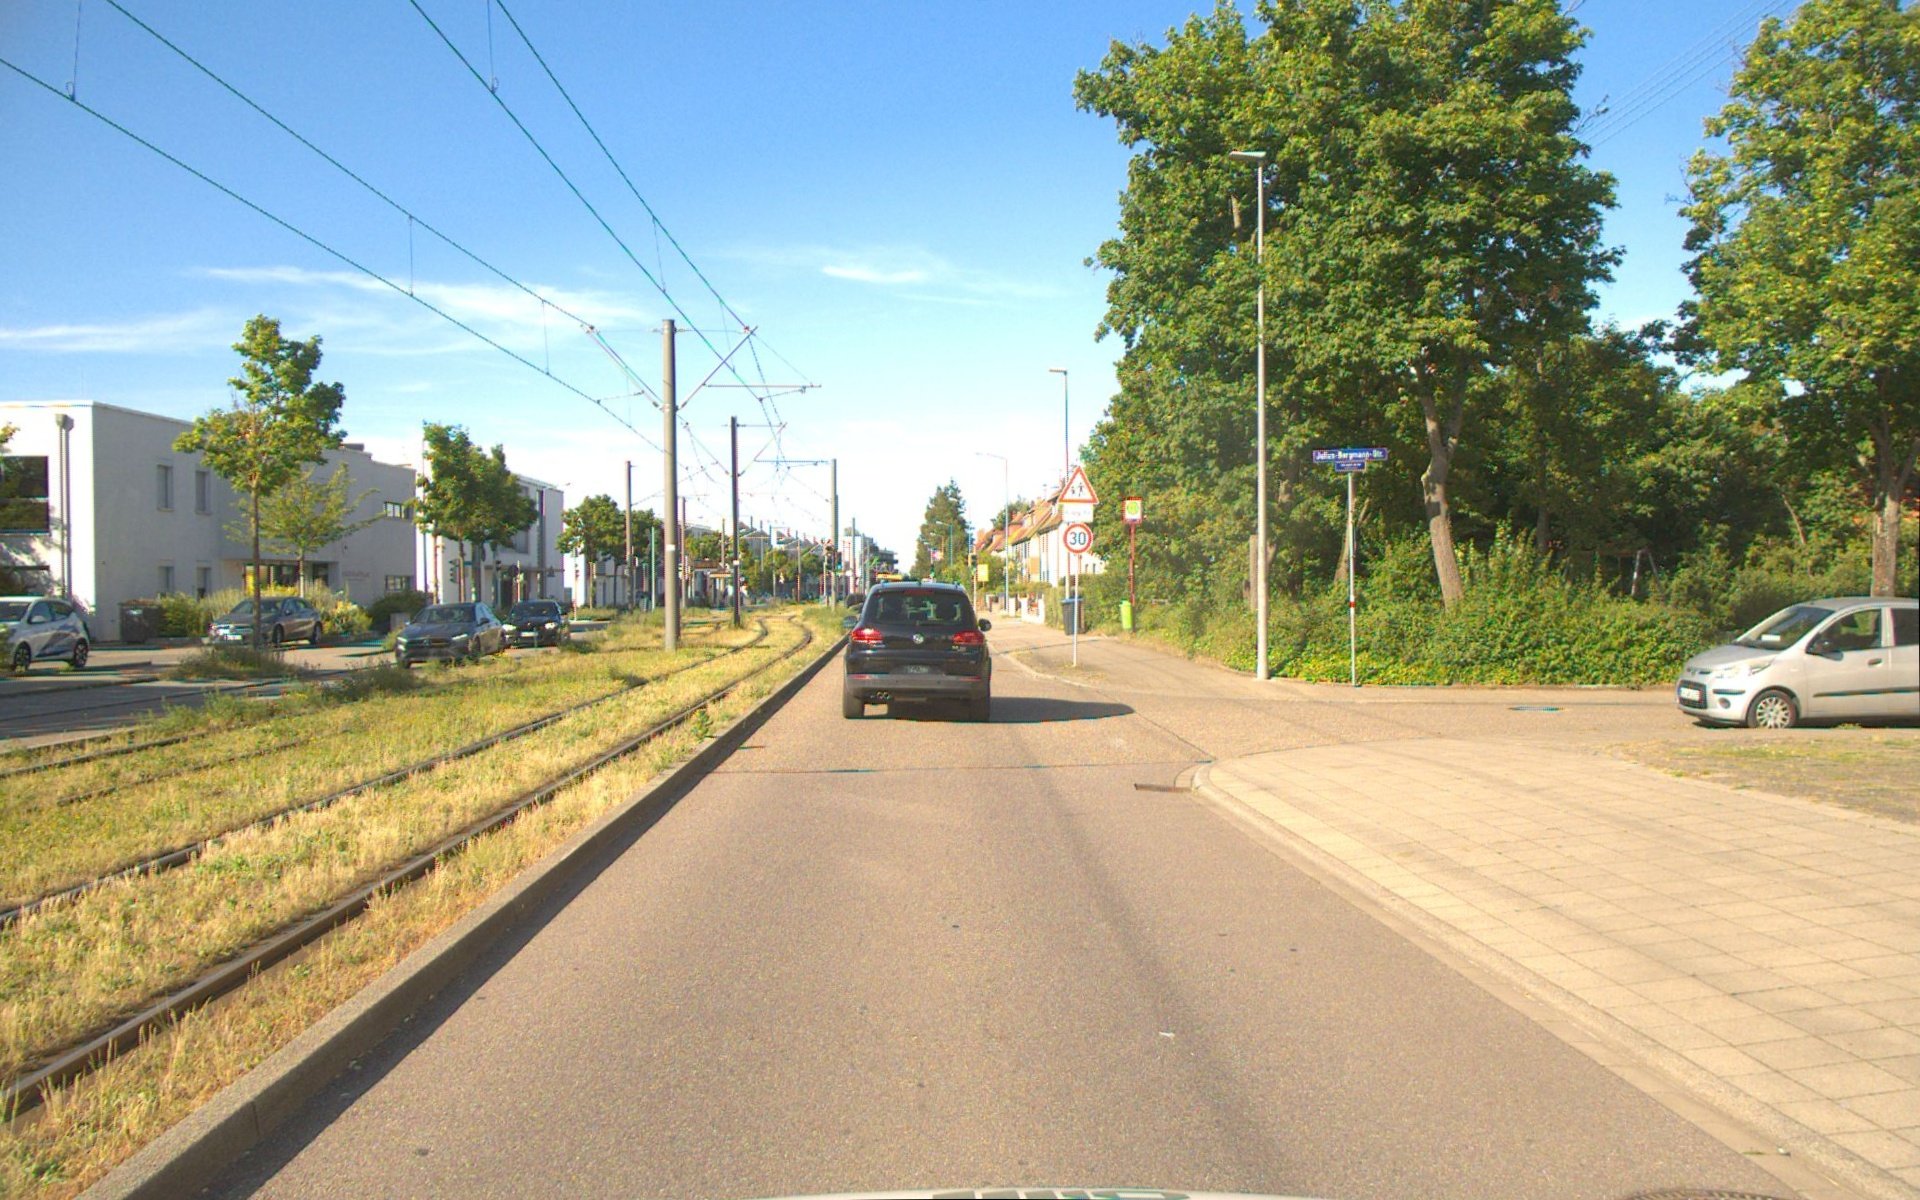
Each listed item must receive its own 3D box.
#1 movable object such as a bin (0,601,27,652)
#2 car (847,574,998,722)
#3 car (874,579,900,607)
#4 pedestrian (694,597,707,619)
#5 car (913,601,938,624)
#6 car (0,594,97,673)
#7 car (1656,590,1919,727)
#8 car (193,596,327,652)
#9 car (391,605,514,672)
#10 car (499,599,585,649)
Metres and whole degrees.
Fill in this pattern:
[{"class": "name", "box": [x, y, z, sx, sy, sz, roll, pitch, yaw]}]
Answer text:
[{"class": "movable object such as a bin", "box": [-27.060, 0.744, 46.556, 0.650, 1.407, 1.422, 1, 0, 6]}, {"class": "car", "box": [-0.567, 0.568, 21.295, 1.741, 1.699, 3.997, 1, 0, -4]}, {"class": "car", "box": [-6.944, -0.690, 158.079, 2.346, 2.609, 5.528, 0, 0, -1]}, {"class": "pedestrian", "box": [-18.799, 0.562, 119.781, 0.868, 1.615, 0.624, 0, 0, -20]}, {"class": "car", "box": [-2.635, 0.946, 125.224, 1.741, 1.699, 3.997, 0, 0, -4]}, {"class": "car", "box": [-19.224, 0.633, 33.640, 1.513, 1.517, 3.772, 1, 0, -3]}, {"class": "car", "box": [10.505, 0.678, 19.932, 3.521, 1.557, 1.647, -1, -1, -1]}, {"class": "car", "box": [-19.677, 0.657, 46.674, 1.773, 1.486, 4.318, 1, 0, 2]}, {"class": "car", "box": [-11.817, 0.865, 38.773, 1.654, 1.413, 4.385, -2, 0, -2]}, {"class": "car", "box": [-13.296, 0.740, 52.892, 1.727, 1.469, 4.913, -2, 0, -3]}]
